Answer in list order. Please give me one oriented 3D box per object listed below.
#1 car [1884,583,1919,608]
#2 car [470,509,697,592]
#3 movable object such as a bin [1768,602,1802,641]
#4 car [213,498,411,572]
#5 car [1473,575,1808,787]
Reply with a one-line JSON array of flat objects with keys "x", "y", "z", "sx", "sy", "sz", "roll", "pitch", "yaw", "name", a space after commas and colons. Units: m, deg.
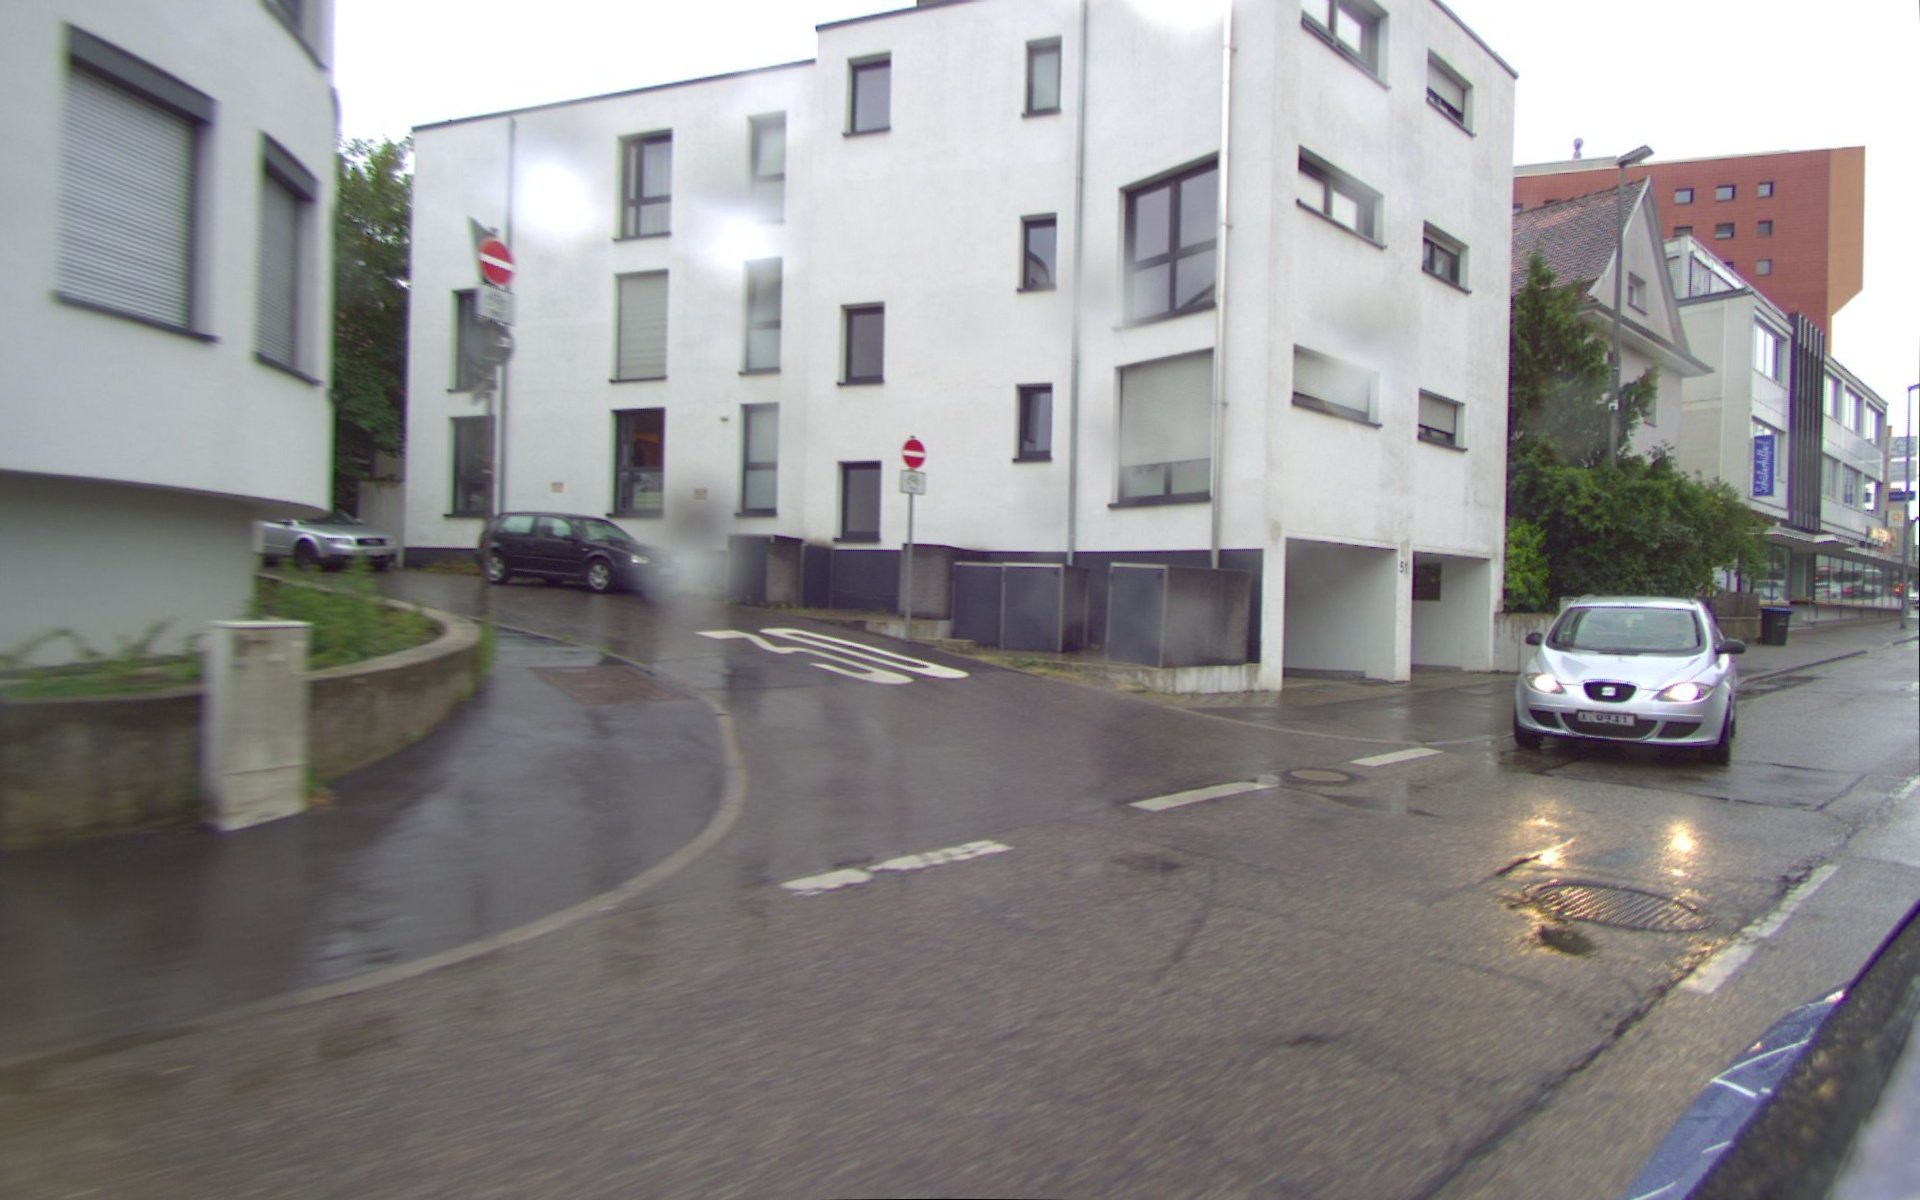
[{"x": 62.021, "y": -0.313, "z": 65.826, "sx": 1.596, "sy": 1.480, "sz": 3.403, "roll": 1, "pitch": 2, "yaw": 20, "name": "car"}, {"x": -7.113, "y": -0.977, "z": 19.177, "sx": 3.786, "sy": 1.332, "sz": 1.768, "roll": 4, "pitch": 5, "yaw": 18, "name": "car"}, {"x": 23.145, "y": 0.597, "z": 28.399, "sx": 0.816, "sy": 1.061, "sz": 0.577, "roll": 2, "pitch": 1, "yaw": -41, "name": "movable object such as a bin"}, {"x": -13.552, "y": -1.397, "z": 21.189, "sx": 3.724, "sy": 1.332, "sz": 1.736, "roll": 4, "pitch": 5, "yaw": 23, "name": "car"}, {"x": 7.225, "y": 0.619, "z": 10.556, "sx": 4.289, "sy": 1.642, "sz": 2.013, "roll": -3, "pitch": 3, "yaw": -43, "name": "car"}]
